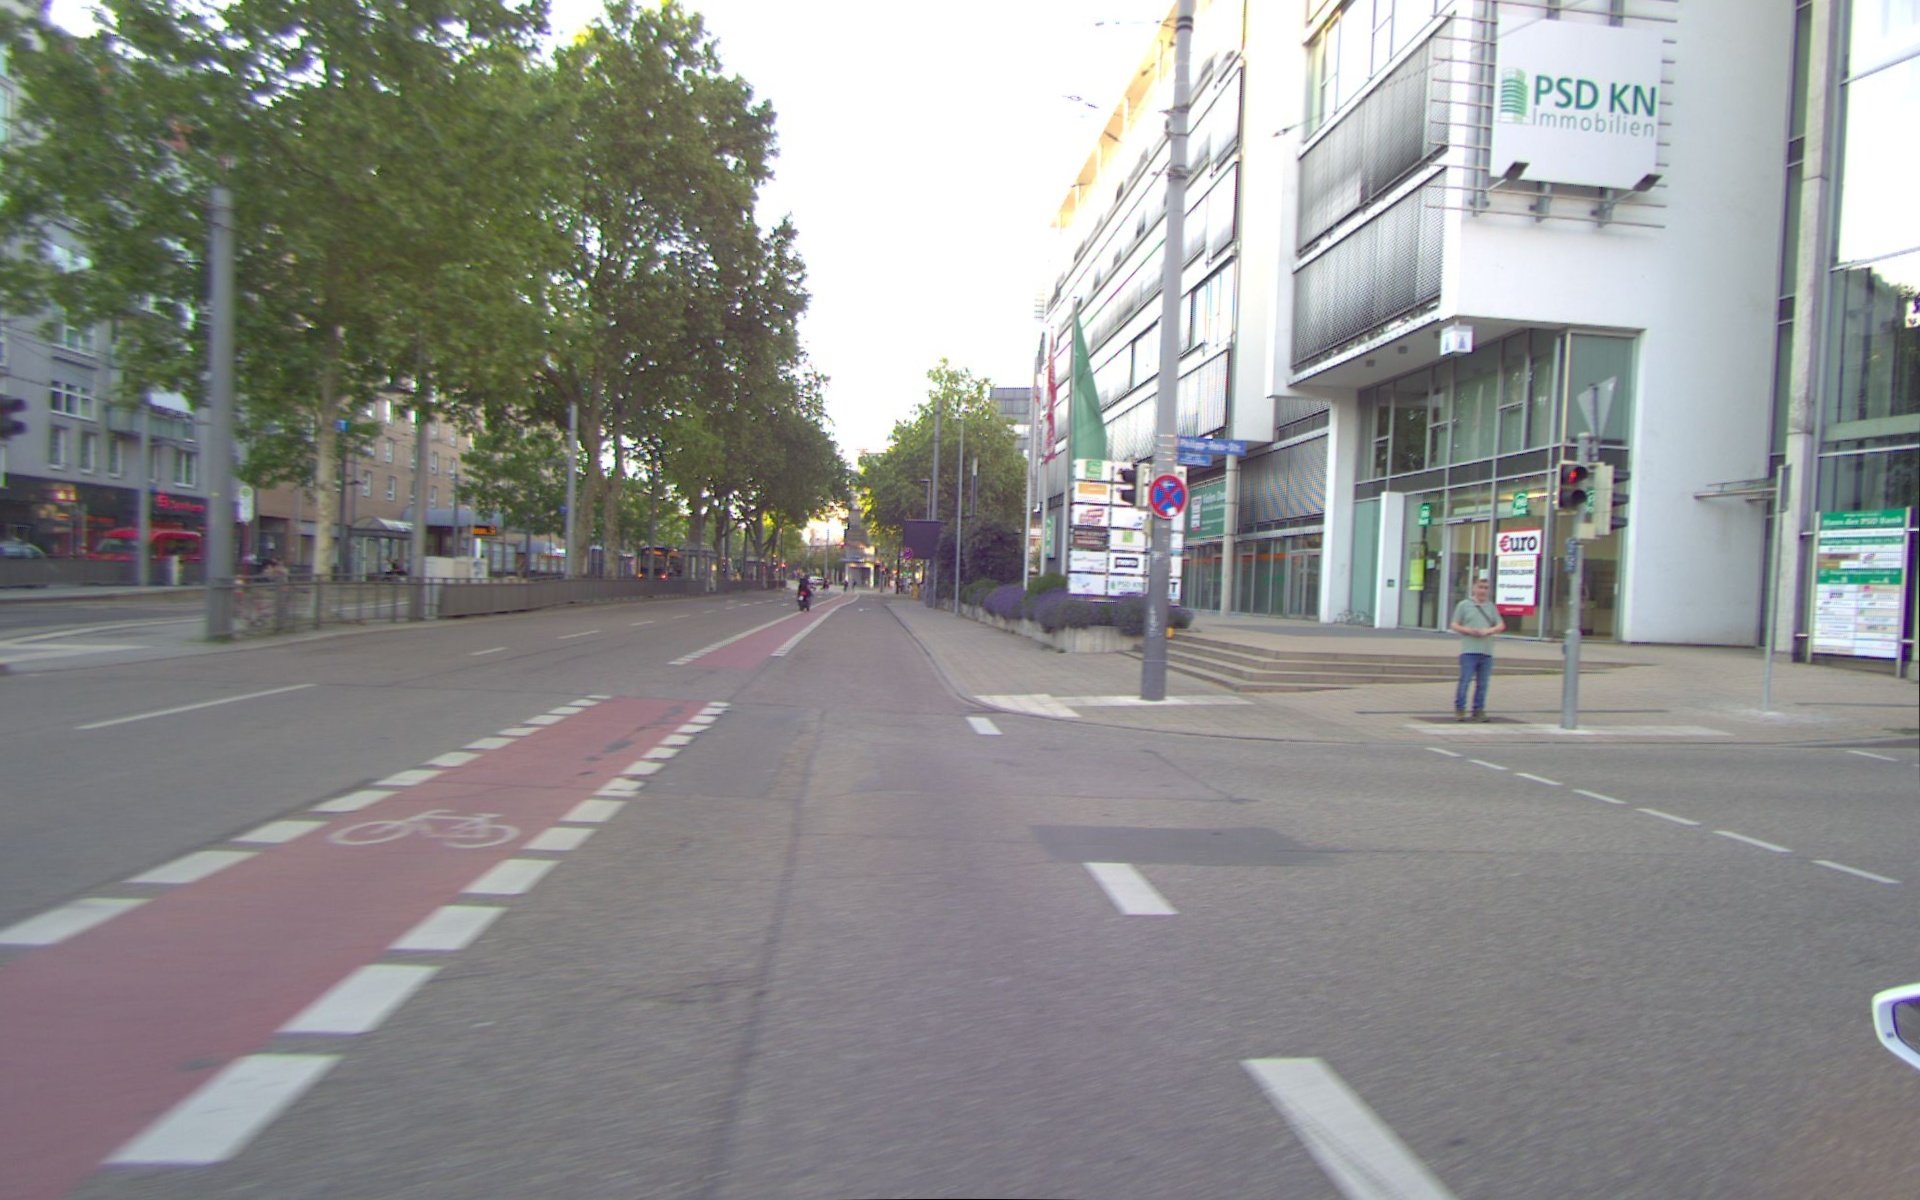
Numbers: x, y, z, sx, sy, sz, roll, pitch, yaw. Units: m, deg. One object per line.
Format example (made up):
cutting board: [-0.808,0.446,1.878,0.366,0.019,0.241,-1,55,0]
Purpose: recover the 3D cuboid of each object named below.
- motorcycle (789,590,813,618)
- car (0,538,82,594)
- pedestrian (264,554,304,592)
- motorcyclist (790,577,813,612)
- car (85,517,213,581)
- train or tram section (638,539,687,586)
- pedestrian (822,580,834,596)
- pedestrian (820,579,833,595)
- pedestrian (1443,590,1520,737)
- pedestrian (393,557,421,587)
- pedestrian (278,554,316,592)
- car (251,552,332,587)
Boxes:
motorcycle: [-7.476,0.186,47.281,0.924,1.243,2.170,2,1,-5]
car: [-28.735,-1.038,30.022,1.635,1.617,4.098,2,1,-6]
pedestrian: [-26.786,-1.075,39.817,0.920,1.473,0.996,2,1,-7]
motorcyclist: [-7.446,-0.276,47.147,0.924,1.603,1.027,2,1,-5]
car: [-35.297,-2.166,43.921,1.816,2.575,5.077,2,1,-5]
train or tram section: [-23.848,-2.938,80.915,2.296,3.434,10.516,2,1,-9]
pedestrian: [-17.269,-1.529,131.223,1.058,2.041,1.196,3,1,20]
pedestrian: [-17.671,-1.745,133.086,1.062,2.041,1.192,3,2,38]
pedestrian: [6.400,0.753,12.355,0.693,1.724,0.546,3,1,21]
pedestrian: [-28.011,-1.425,50.912,0.920,1.473,0.996,2,1,-7]
pedestrian: [-26.937,-1.100,40.825,0.920,1.473,0.996,2,1,-7]
car: [-33.222,-1.509,50.042,1.635,1.617,4.098,2,1,-6]
